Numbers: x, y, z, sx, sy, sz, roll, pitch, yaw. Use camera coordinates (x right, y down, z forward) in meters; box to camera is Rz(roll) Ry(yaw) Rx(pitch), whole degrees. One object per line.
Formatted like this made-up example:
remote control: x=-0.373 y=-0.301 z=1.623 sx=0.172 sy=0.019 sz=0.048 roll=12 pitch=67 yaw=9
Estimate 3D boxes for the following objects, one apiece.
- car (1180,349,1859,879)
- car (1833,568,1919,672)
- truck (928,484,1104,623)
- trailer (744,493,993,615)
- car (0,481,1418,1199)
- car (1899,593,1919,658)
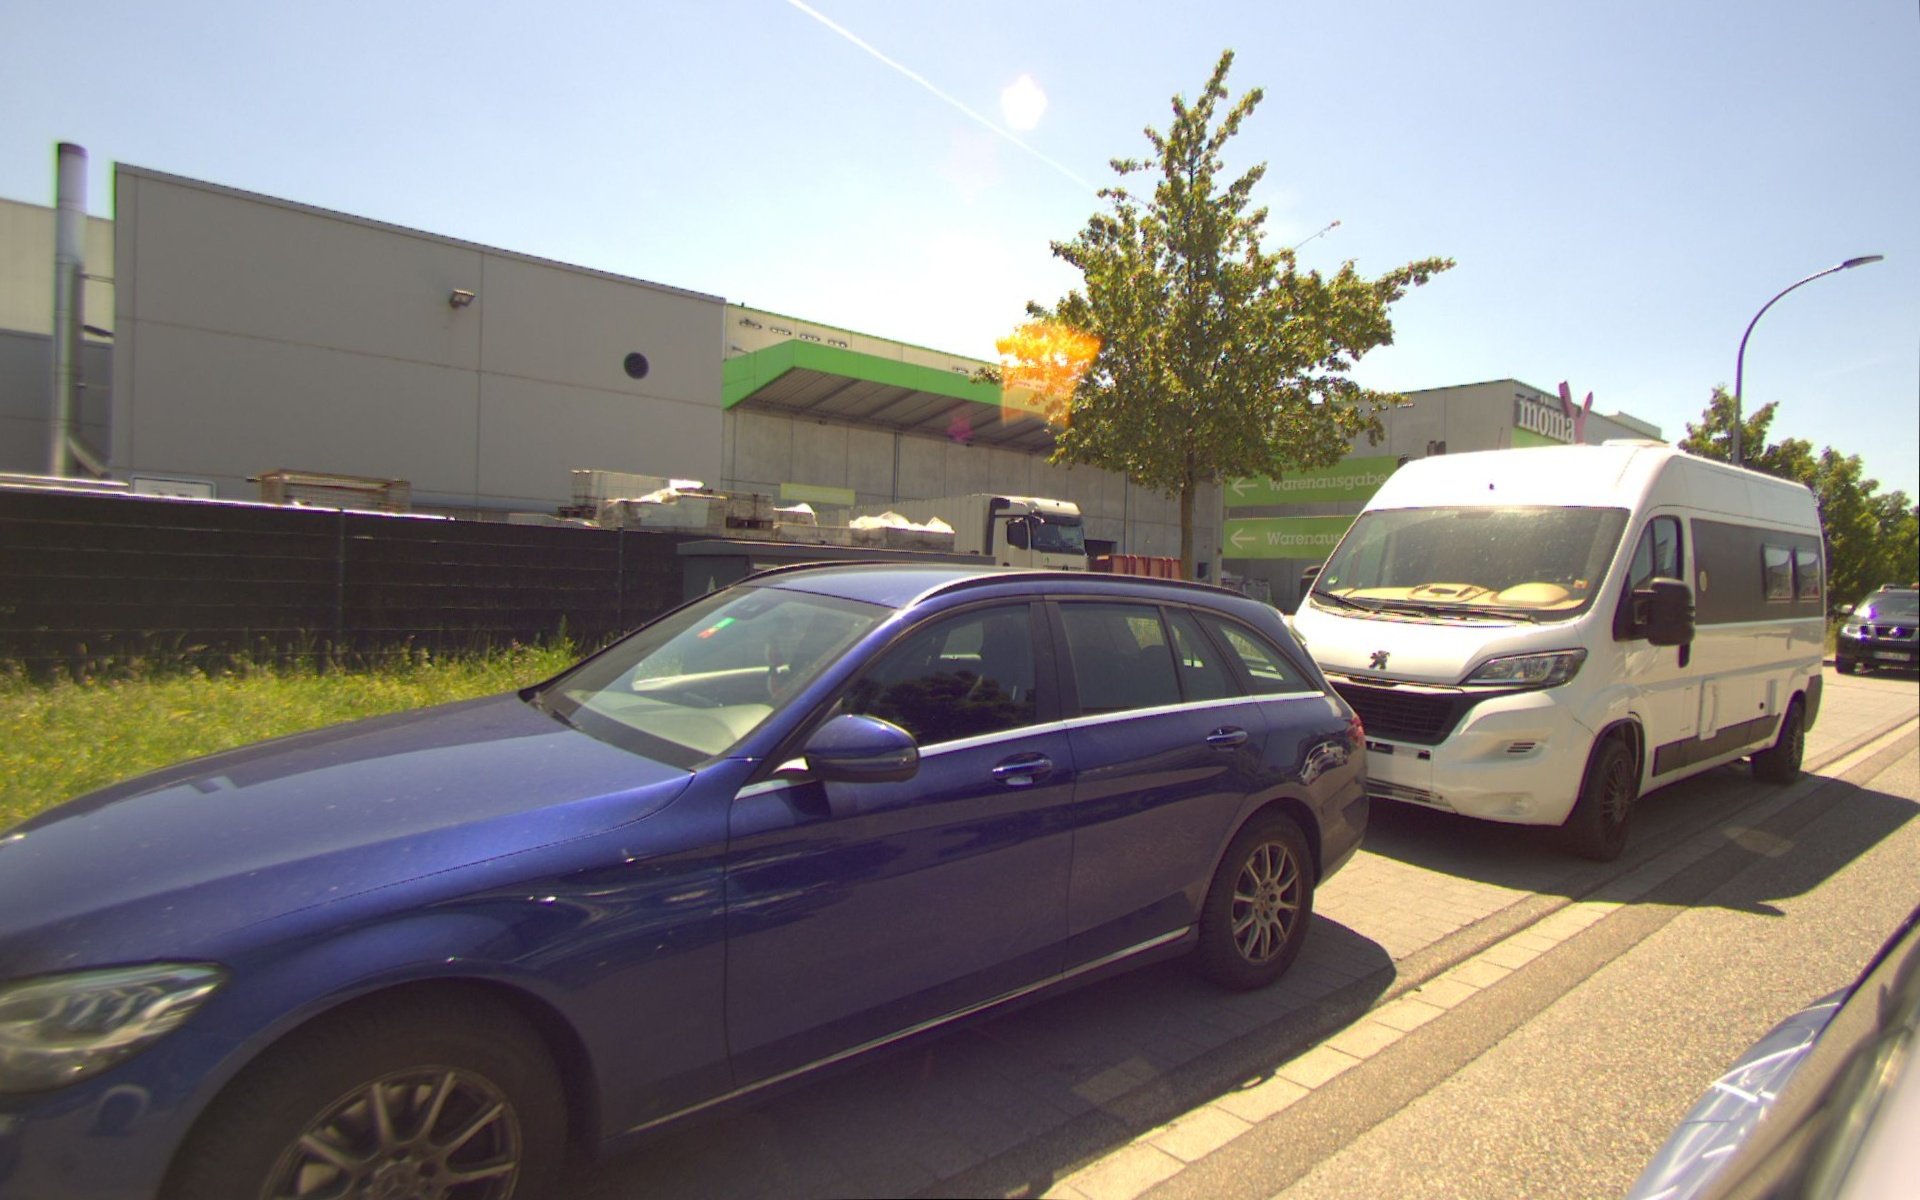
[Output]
car: x=4.535 y=0.038 z=7.614 sx=6.040 sy=2.528 sz=2.274 roll=1 pitch=2 yaw=-39
car: x=19.844 y=0.396 z=20.836 sx=5.064 sy=1.908 sz=1.998 roll=0 pitch=3 yaw=-40
truck: x=1.648 y=-1.412 z=31.504 sx=2.754 sy=3.923 sz=5.074 roll=0 pitch=2 yaw=-39
trailer: x=-3.967 y=-1.712 z=38.337 sx=2.754 sy=3.923 sz=12.648 roll=0 pitch=2 yaw=-39
car: x=-0.453 y=0.565 z=3.445 sx=4.396 sy=1.512 sz=1.833 roll=1 pitch=2 yaw=-39
car: x=24.877 y=0.661 z=25.239 sx=3.931 sy=1.549 sz=1.742 roll=0 pitch=3 yaw=-42
